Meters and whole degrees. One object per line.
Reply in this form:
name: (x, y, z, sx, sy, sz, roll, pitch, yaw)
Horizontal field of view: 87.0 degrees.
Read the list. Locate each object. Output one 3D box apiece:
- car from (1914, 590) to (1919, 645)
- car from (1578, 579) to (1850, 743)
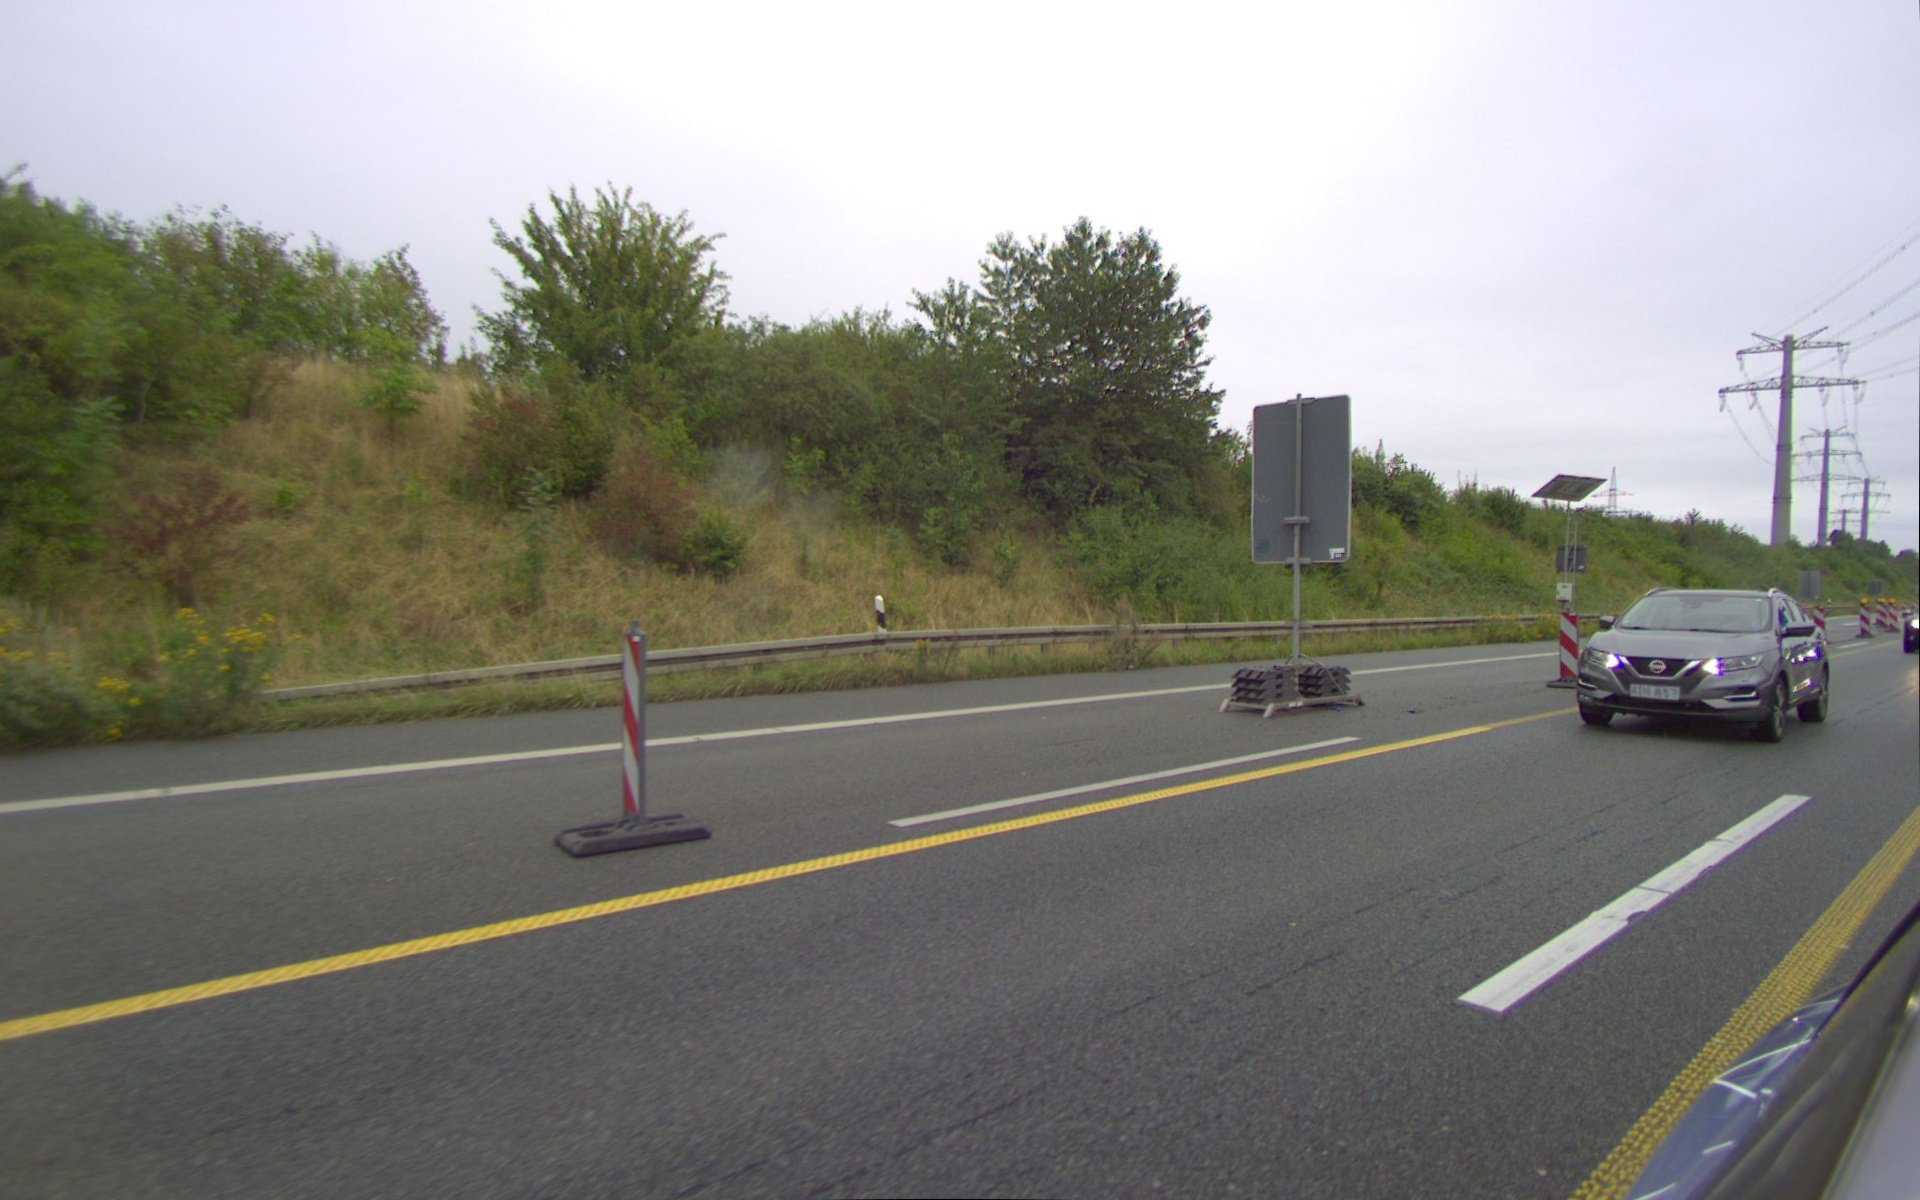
car: (27.453, 0.470, 27.591, 4.079, 1.458, 1.802, 0, 1, -43)
car: (8.794, 0.555, 11.675, 4.079, 1.551, 1.802, 0, 1, -43)
